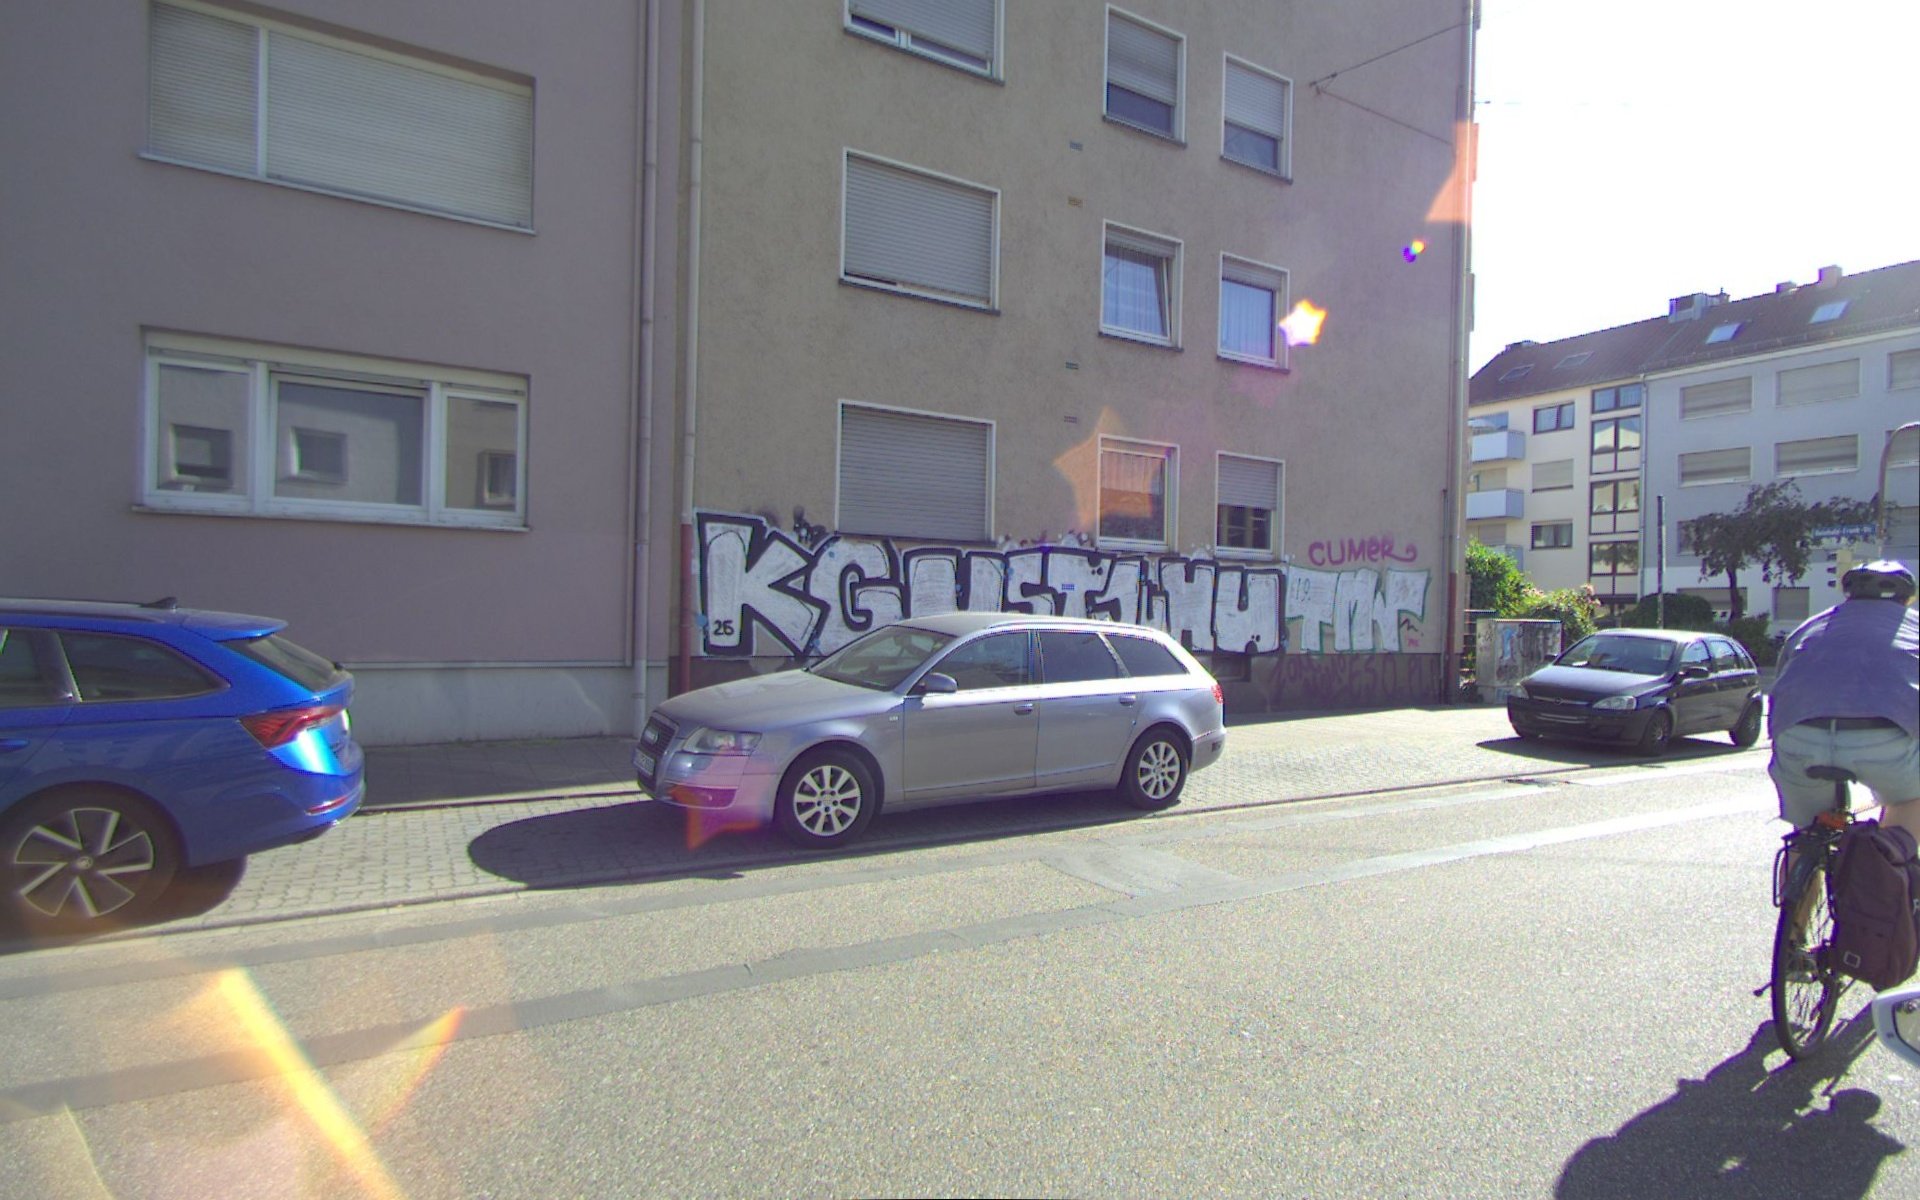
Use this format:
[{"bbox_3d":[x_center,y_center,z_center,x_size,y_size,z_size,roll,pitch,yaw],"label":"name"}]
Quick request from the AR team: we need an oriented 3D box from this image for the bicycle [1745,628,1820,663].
[{"bbox_3d":[29.831,1.639,36.472,2.068,1.188,0.738,0,-1,37],"label":"bicycle"}]

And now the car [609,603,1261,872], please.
[{"bbox_3d":[-0.045,0.840,7.699,4.759,1.485,1.709,1,1,-31],"label":"car"}]

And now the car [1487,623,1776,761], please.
[{"bbox_3d":[8.609,1.081,12.830,3.667,1.444,1.608,1,2,-31],"label":"car"}]

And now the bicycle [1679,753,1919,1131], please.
[{"bbox_3d":[3.383,1.128,3.745,1.796,0.893,0.606,0,0,-36],"label":"bicycle"}]

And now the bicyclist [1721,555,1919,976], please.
[{"bbox_3d":[3.377,0.539,3.740,1.008,1.364,0.604,0,0,-36],"label":"bicyclist"}]

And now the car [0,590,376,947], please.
[{"bbox_3d":[-5.345,0.710,4.606,4.558,1.485,1.709,1,2,-30],"label":"car"}]
